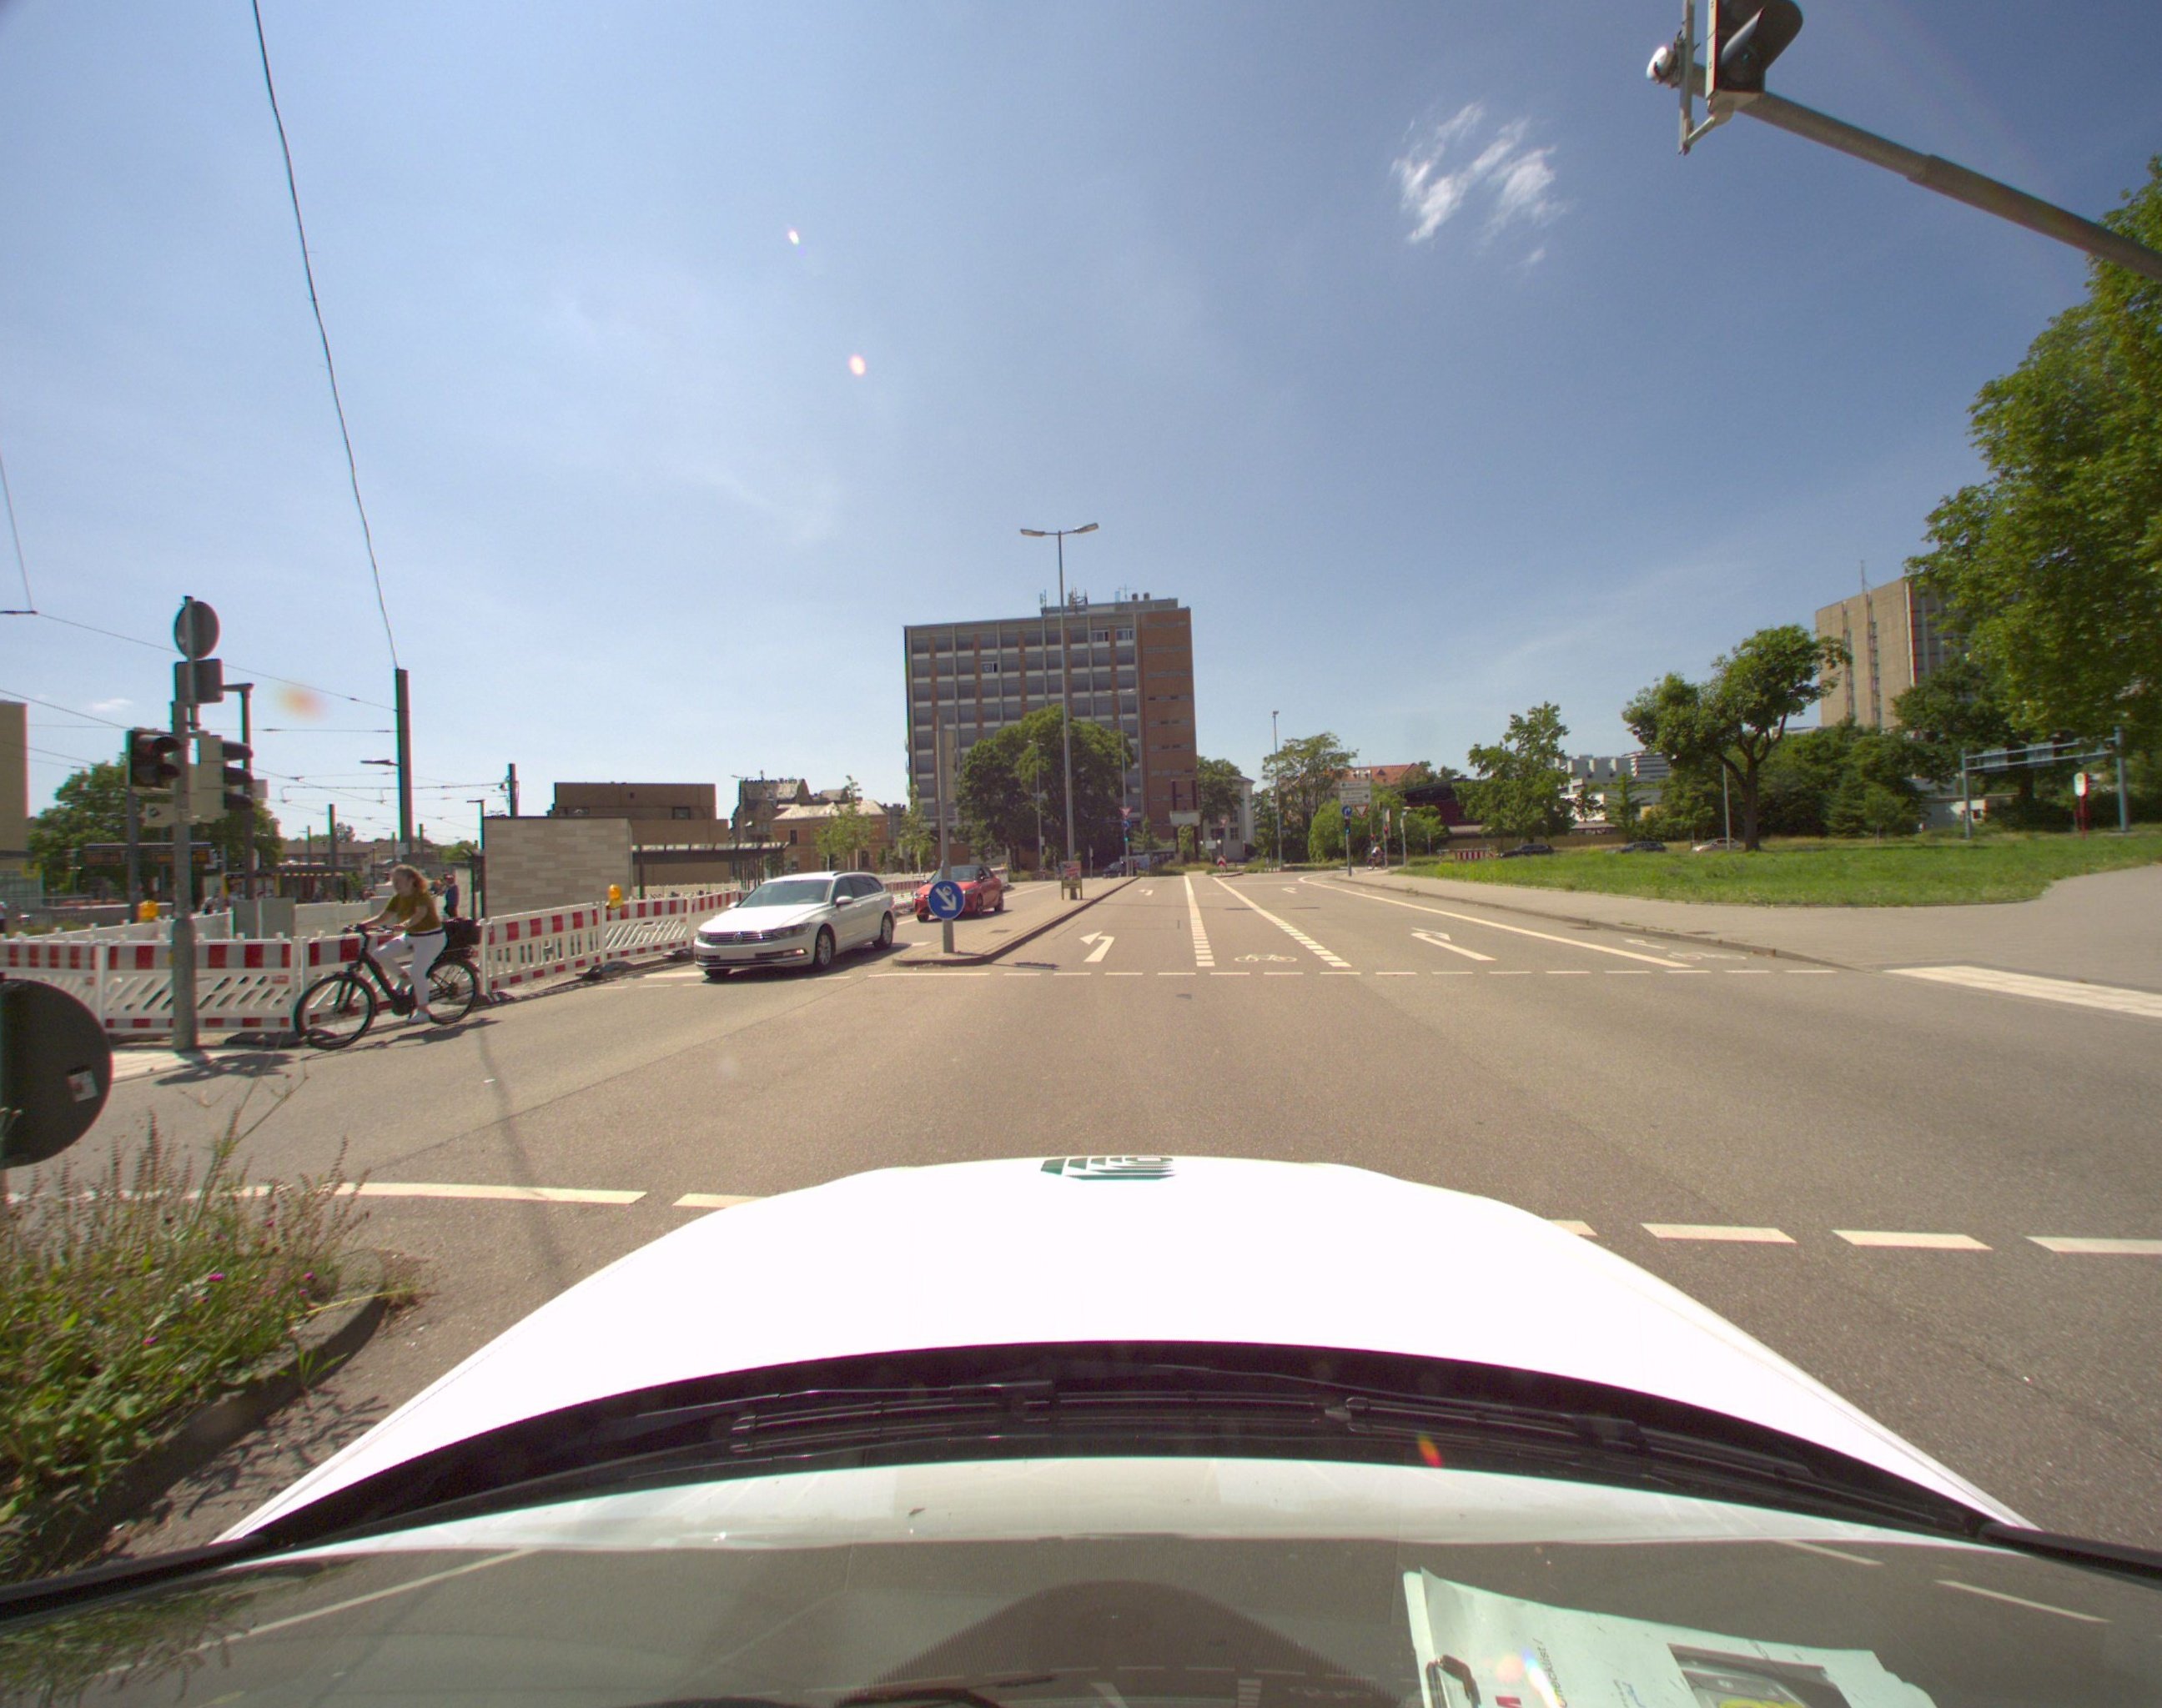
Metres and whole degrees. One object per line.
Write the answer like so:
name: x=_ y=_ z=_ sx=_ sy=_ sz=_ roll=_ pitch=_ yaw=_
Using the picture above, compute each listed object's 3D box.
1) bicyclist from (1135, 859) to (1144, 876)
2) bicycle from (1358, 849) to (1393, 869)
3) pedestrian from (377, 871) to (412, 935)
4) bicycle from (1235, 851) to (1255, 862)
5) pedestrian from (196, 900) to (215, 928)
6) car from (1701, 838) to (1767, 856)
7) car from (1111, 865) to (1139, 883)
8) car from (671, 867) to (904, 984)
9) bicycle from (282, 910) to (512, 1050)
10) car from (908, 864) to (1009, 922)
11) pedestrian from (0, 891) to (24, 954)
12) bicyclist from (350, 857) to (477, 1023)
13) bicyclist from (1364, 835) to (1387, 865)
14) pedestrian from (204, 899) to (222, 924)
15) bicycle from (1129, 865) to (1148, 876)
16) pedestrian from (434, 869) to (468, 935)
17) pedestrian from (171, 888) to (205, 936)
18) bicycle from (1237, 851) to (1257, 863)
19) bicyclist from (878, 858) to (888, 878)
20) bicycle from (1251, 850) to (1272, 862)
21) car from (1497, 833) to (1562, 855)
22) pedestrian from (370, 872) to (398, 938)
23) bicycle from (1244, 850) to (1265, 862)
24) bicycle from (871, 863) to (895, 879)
bicyclist: x=6.177 y=1.395 z=85.532 sx=0.704 sy=1.715 sz=0.547 roll=-2 pitch=0 yaw=-25
bicycle: x=18.939 y=0.306 z=52.316 sx=2.187 sy=1.237 sz=0.519 roll=0 pitch=-1 yaw=-13
pedestrian: x=-19.681 y=1.384 z=23.356 sx=0.647 sy=1.789 sz=0.632 roll=0 pitch=-1 yaw=-29
bicycle: x=28.839 y=0.448 z=142.894 sx=3.427 sy=2.014 sz=0.762 roll=-1 pitch=-1 yaw=8
pedestrian: x=-44.613 y=3.045 z=41.494 sx=0.511 sy=1.366 sz=0.520 roll=0 pitch=-1 yaw=-31
car: x=54.016 y=-0.577 z=67.411 sx=3.967 sy=1.439 sz=1.763 roll=0 pitch=-1 yaw=6
car: x=3.811 y=1.723 z=70.884 sx=1.614 sy=1.552 sz=3.760 roll=0 pitch=-1 yaw=-11
car: x=-4.511 y=1.014 z=13.367 sx=1.807 sy=1.428 sz=4.433 roll=-4 pitch=0 yaw=5
bicycle: x=-7.147 y=1.259 z=8.672 sx=0.585 sy=1.150 sz=2.011 roll=-4 pitch=-1 yaw=4
car: x=-3.334 y=1.027 z=22.949 sx=1.679 sy=1.378 sz=4.021 roll=-4 pitch=-1 yaw=7
pedestrian: x=-32.419 y=2.062 z=24.423 sx=0.701 sy=1.858 sz=0.600 roll=0 pitch=-1 yaw=-33
bicyclist: x=-7.168 y=0.889 z=8.781 sx=0.583 sy=1.665 sz=0.800 roll=-4 pitch=-1 yaw=4
bicyclist: x=18.897 y=-0.252 z=52.235 sx=1.136 sy=1.887 sz=0.706 roll=0 pitch=-1 yaw=-14
pedestrian: x=-49.843 y=3.274 z=46.764 sx=0.441 sy=1.397 sz=0.558 roll=0 pitch=-1 yaw=0
bicycle: x=6.041 y=1.745 z=85.450 sx=2.001 sy=1.045 sz=0.554 roll=-2 pitch=1 yaw=-26
pedestrian: x=-18.667 y=1.406 z=24.142 sx=0.695 sy=1.905 sz=0.571 roll=0 pitch=-1 yaw=-30
pedestrian: x=-35.617 y=2.296 z=32.473 sx=0.617 sy=1.858 sz=0.644 roll=-2 pitch=-1 yaw=-1
bicycle: x=28.513 y=0.462 z=140.025 sx=3.427 sy=2.014 sz=0.762 roll=-1 pitch=-1 yaw=8
bicyclist: x=-15.995 y=1.155 z=65.846 sx=0.492 sy=1.580 sz=0.534 roll=-4 pitch=-2 yaw=24
bicycle: x=30.626 y=0.418 z=138.254 sx=3.427 sy=2.014 sz=0.762 roll=-1 pitch=-1 yaw=8
car: x=38.229 y=-0.814 z=69.569 sx=4.510 sy=1.586 sz=1.715 roll=-3 pitch=-1 yaw=12
pedestrian: x=-19.313 y=1.397 z=22.578 sx=0.543 sy=1.756 sz=0.652 roll=0 pitch=-1 yaw=-38
bicycle: x=29.110 y=0.401 z=136.884 sx=3.427 sy=2.014 sz=0.762 roll=-1 pitch=-1 yaw=8
bicycle: x=-16.026 y=1.365 z=65.849 sx=1.875 sy=1.180 sz=0.527 roll=-4 pitch=-2 yaw=24
